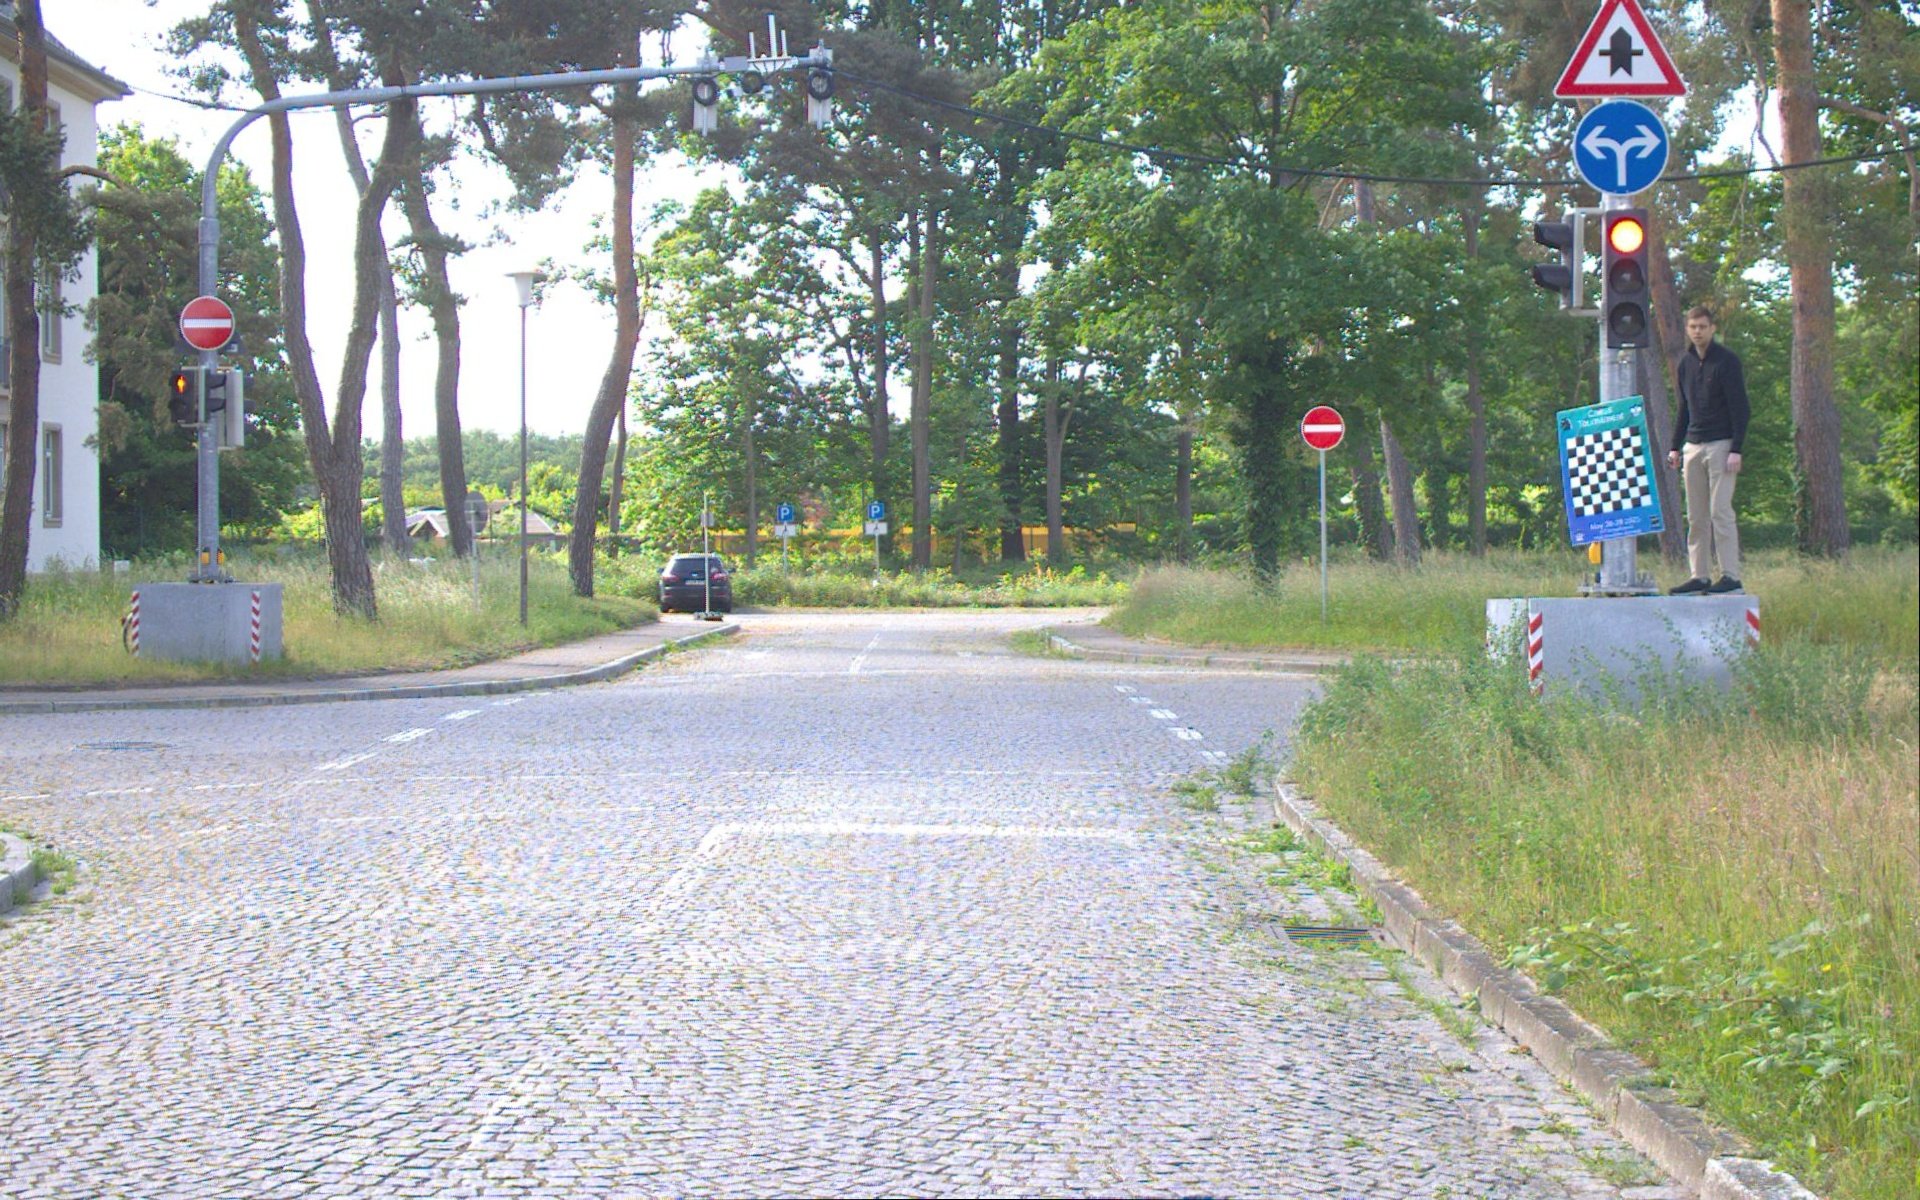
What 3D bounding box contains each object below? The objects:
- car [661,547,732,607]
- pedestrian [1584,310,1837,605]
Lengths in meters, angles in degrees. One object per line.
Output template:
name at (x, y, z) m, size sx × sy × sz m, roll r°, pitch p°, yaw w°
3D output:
car at (-6.837, -0.619, 89.371) m, size 1.709 × 1.491 × 3.919 m, roll 0°, pitch 1°, yaw -3°
pedestrian at (4.731, -0.881, 21.664) m, size 1.171 × 1.790 × 1.060 m, roll 0°, pitch 1°, yaw 41°
